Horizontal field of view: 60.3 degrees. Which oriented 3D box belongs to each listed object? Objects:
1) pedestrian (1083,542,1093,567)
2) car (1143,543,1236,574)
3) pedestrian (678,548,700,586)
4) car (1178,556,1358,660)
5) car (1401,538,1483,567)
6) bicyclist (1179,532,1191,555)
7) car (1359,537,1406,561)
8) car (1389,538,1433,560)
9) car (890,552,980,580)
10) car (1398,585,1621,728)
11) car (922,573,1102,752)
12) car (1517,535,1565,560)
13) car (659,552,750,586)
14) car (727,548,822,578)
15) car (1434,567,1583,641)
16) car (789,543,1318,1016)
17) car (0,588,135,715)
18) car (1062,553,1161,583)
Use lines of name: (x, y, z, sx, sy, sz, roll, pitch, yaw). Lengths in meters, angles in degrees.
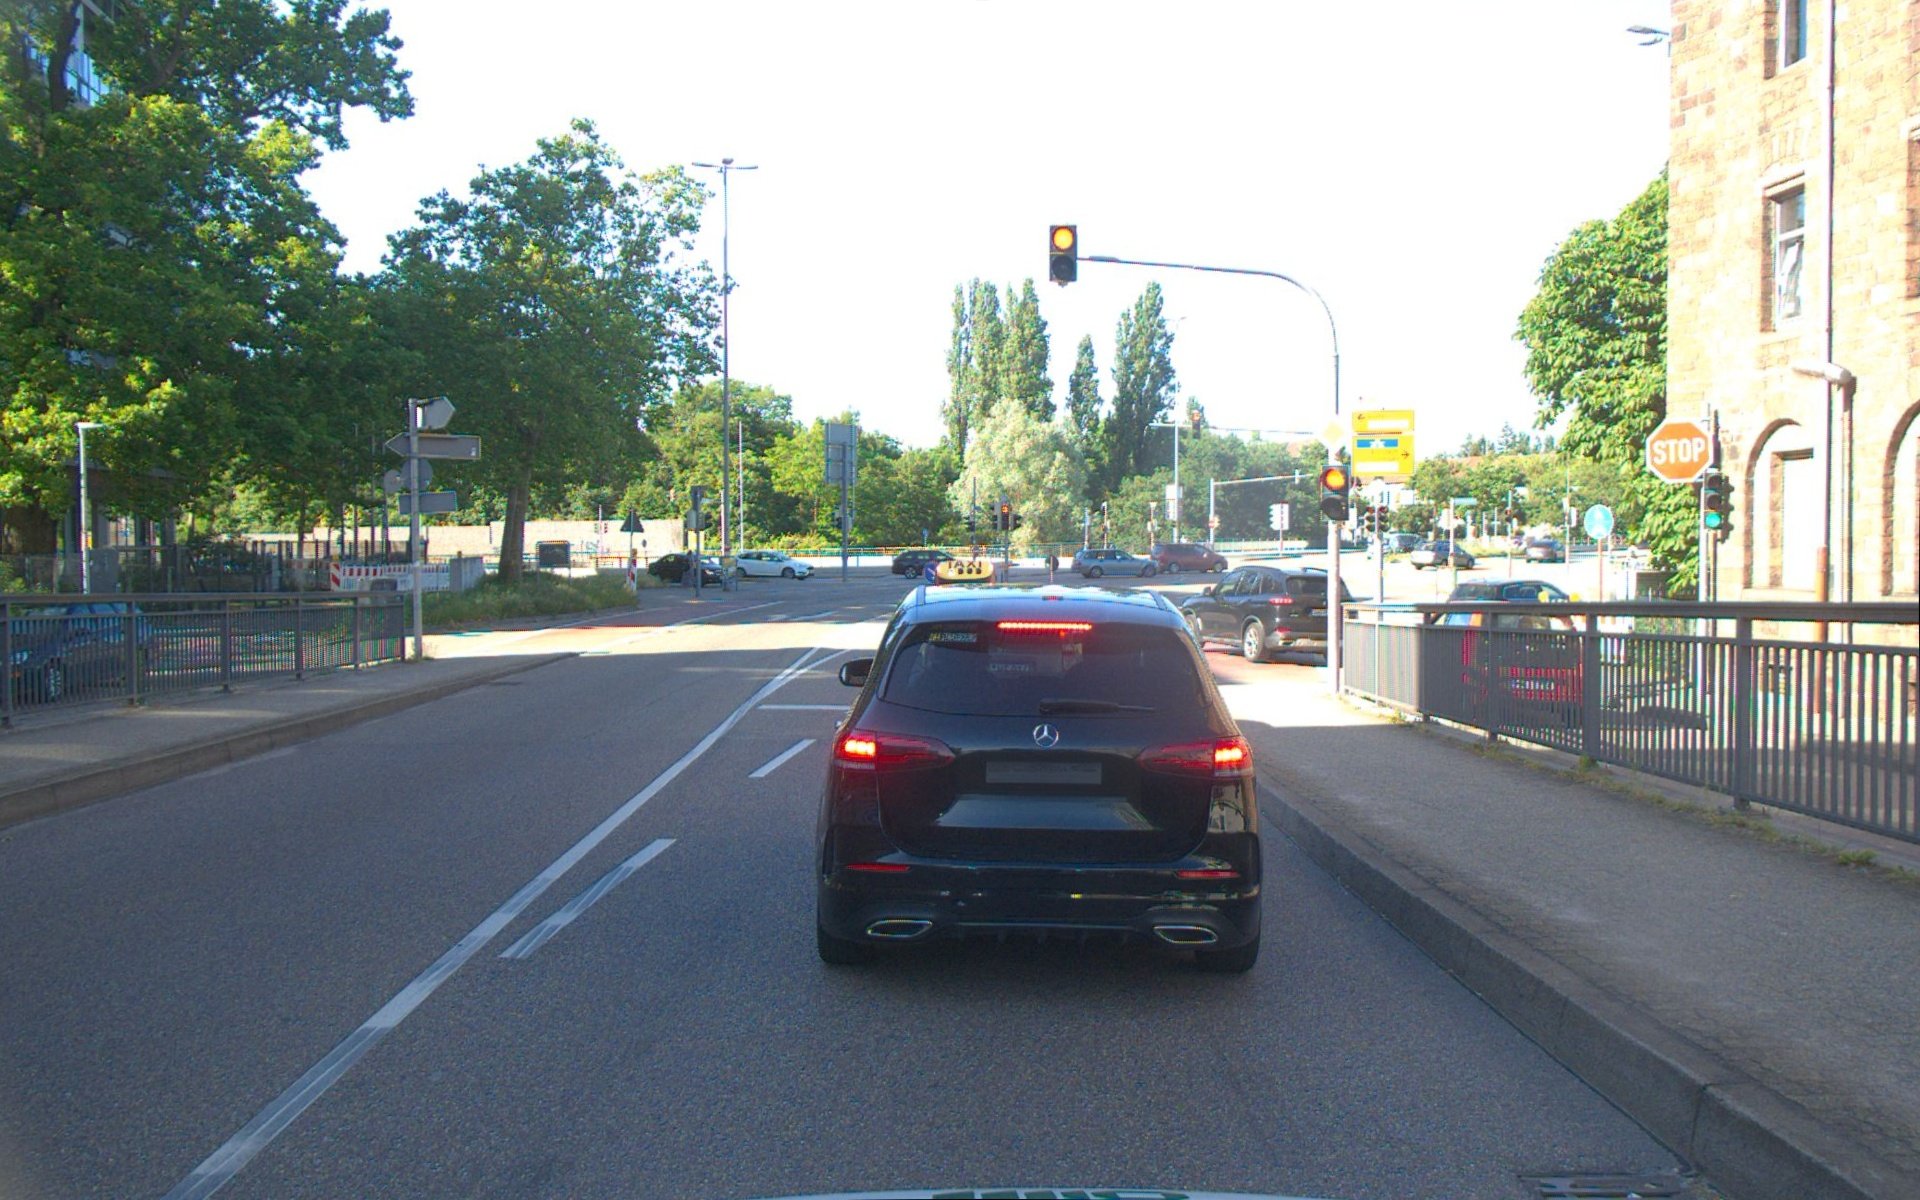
pedestrian: (8.142, -2.890, 105.055, 0.443, 1.613, 0.499, 0, 2, 40)
car: (12.169, -2.232, 87.815, 4.464, 1.481, 1.992, -2, 3, -16)
pedestrian: (-11.111, -1.361, 67.836, 0.690, 1.552, 0.744, 1, 1, 10)
car: (5.842, 0.120, 31.898, 1.693, 1.843, 4.279, -1, 1, -16)
car: (26.927, -2.674, 92.319, 4.773, 1.466, 1.973, -3, 3, -38)
bicyclist: (15.386, -3.870, 113.127, 0.516, 1.578, 0.805, -1, 2, 34)
car: (29.435, -3.536, 115.163, 1.846, 1.605, 3.987, 1, 2, 35)
car: (32.837, -3.722, 120.372, 1.846, 1.605, 3.987, 1, 2, 35)
car: (-1.269, -1.743, 85.105, 4.483, 1.317, 1.888, -1, 3, 4)
car: (7.048, 0.656, 21.555, 1.686, 1.548, 3.486, 0, 3, -1)
car: (0.517, 0.539, 16.720, 1.606, 1.556, 3.475, -1, 2, 1)
car: (36.719, -3.348, 104.496, 1.958, 1.466, 4.285, 0, 3, 32)
car: (-11.152, -1.361, 72.086, 4.127, 1.431, 1.737, 1, 2, 42)
car: (-9.145, -1.831, 81.544, 4.209, 1.389, 2.002, 0, 3, 17)
car: (13.714, 0.050, 41.259, 4.263, 1.631, 1.700, -2, 4, -43)
car: (0.304, 0.610, 7.829, 1.839, 1.641, 4.000, 1, 1, -1)
car: (-14.764, 0.728, 25.793, 1.814, 1.722, 4.000, 0, 2, -1)
car: (7.399, -1.597, 81.010, 4.497, 1.317, 1.996, -2, 3, -11)
